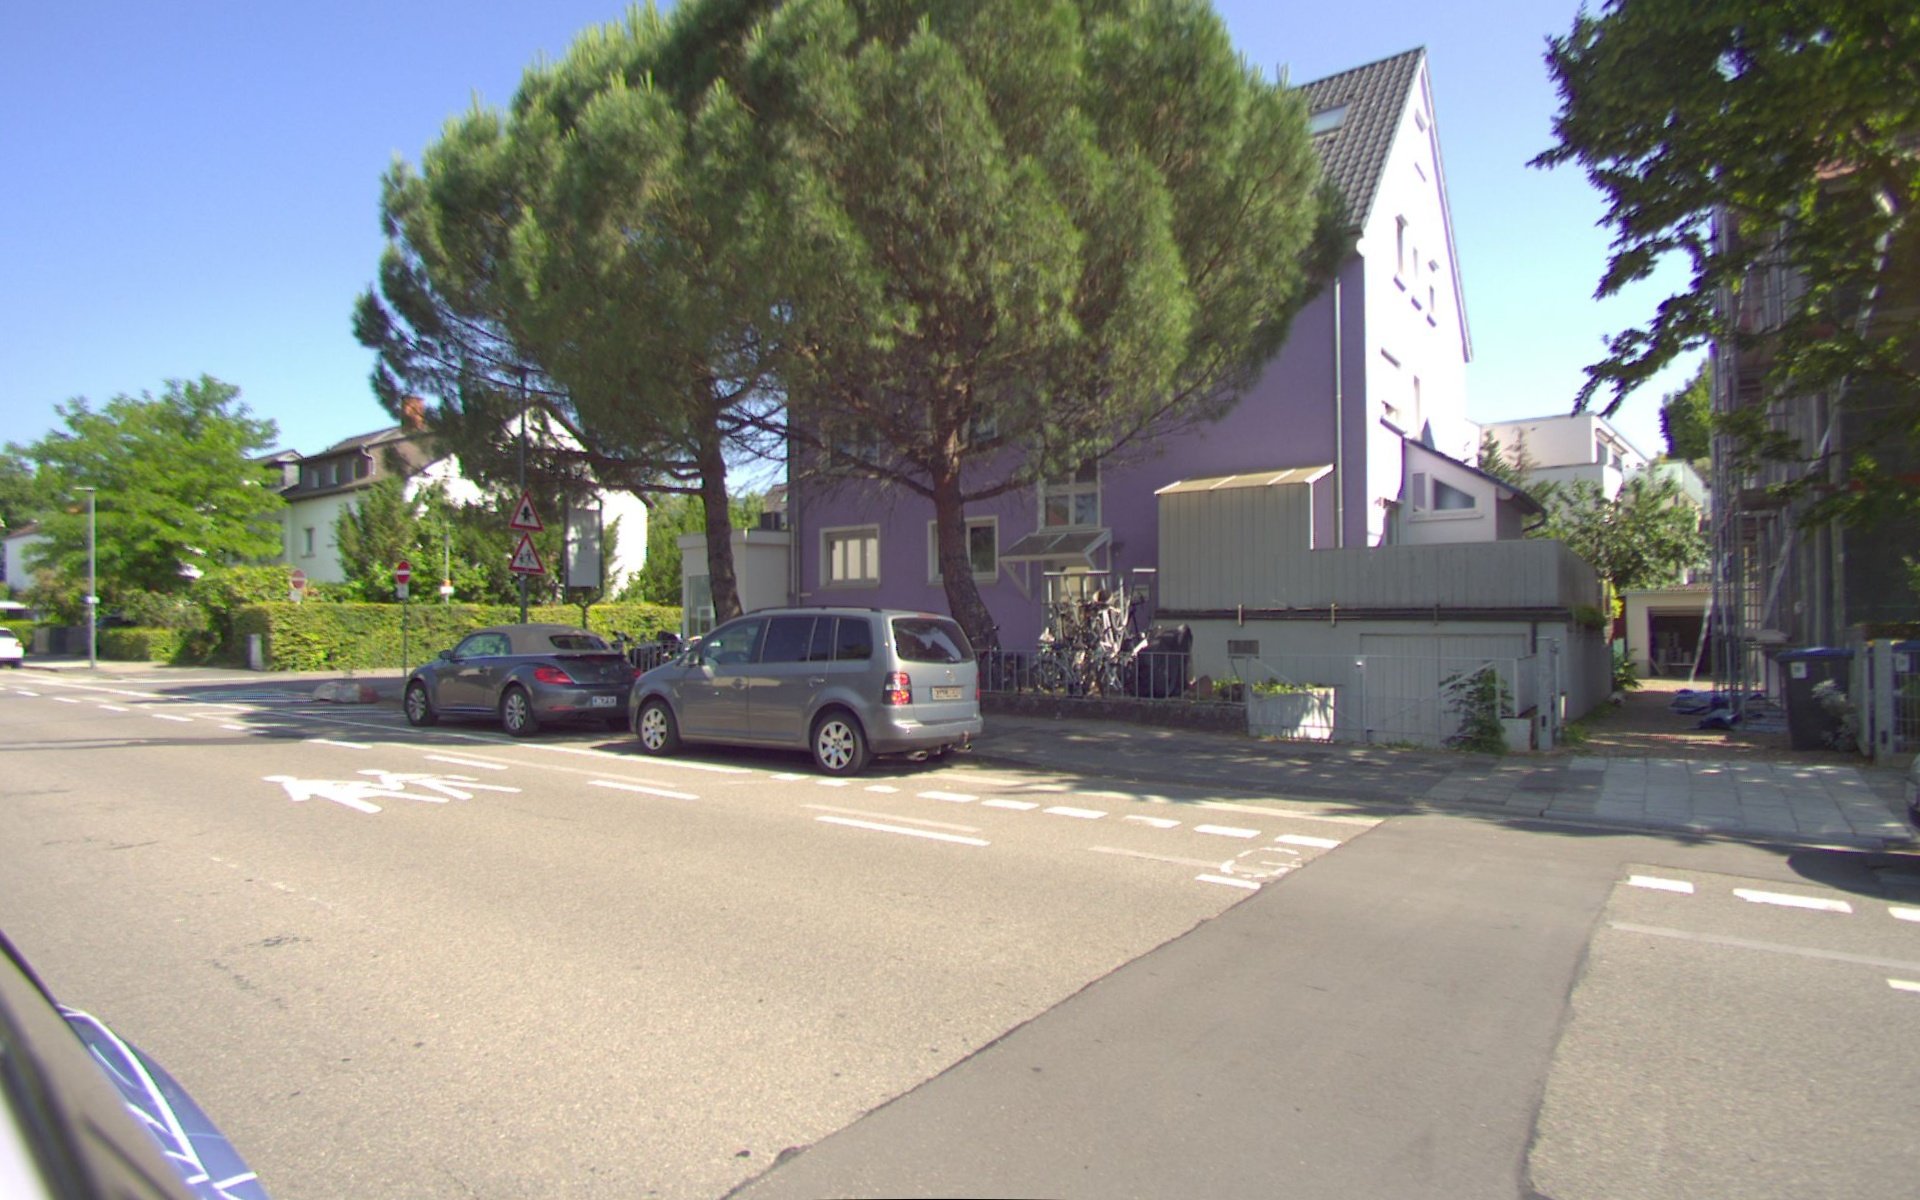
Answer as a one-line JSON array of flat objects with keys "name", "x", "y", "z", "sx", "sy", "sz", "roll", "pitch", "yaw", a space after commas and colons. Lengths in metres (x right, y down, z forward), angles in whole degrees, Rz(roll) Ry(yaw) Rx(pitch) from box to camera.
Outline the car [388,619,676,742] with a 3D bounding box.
[{"name": "car", "x": -6.035, "y": 1.052, "z": 14.104, "sx": 4.185, "sy": 1.468, "sz": 1.824, "roll": -2, "pitch": -3, "yaw": 36}]

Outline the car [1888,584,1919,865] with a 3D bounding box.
[{"name": "car", "x": 7.005, "y": 0.657, "z": 4.537, "sx": 3.994, "sy": 1.571, "sz": 1.704, "roll": -2, "pitch": -3, "yaw": 38}]

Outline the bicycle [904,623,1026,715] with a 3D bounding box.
[{"name": "bicycle", "x": 0.048, "y": 0.976, "z": 14.820, "sx": 1.911, "sy": 1.276, "sz": 0.453, "roll": -1, "pitch": -2, "yaw": 39}]

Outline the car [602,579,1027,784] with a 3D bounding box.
[{"name": "car", "x": -1.692, "y": 0.793, "z": 10.886, "sx": 4.577, "sy": 1.778, "sz": 1.824, "roll": -2, "pitch": -3, "yaw": 36}]

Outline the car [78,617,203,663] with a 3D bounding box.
[{"name": "car", "x": -34.327, "y": 1.665, "z": 42.435, "sx": 3.939, "sy": 1.830, "sz": 2.002, "roll": 2, "pitch": -3, "yaw": -43}]

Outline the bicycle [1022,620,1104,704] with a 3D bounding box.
[{"name": "bicycle", "x": 1.851, "y": 1.071, "z": 17.921, "sx": 0.501, "sy": 1.394, "sz": 2.153, "roll": -2, "pitch": -3, "yaw": 33}]

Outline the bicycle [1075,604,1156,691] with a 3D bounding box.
[{"name": "bicycle", "x": 2.685, "y": 0.795, "z": 17.255, "sx": 0.502, "sy": 1.394, "sz": 2.153, "roll": -2, "pitch": -3, "yaw": 33}]

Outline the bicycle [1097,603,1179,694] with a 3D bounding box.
[{"name": "bicycle", "x": 2.953, "y": 0.785, "z": 16.644, "sx": 0.502, "sy": 1.394, "sz": 2.153, "roll": -2, "pitch": -3, "yaw": 33}]

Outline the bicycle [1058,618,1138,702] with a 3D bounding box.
[{"name": "bicycle", "x": 2.466, "y": 1.031, "z": 17.887, "sx": 0.502, "sy": 1.394, "sz": 2.153, "roll": -2, "pitch": -3, "yaw": 33}]

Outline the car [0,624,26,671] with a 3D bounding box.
[{"name": "car", "x": -33.887, "y": 1.616, "z": 34.806, "sx": 3.993, "sy": 1.564, "sz": 1.935, "roll": -2, "pitch": -2, "yaw": 37}]

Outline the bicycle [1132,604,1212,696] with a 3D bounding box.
[{"name": "bicycle", "x": 3.440, "y": 0.790, "z": 16.289, "sx": 0.502, "sy": 1.394, "sz": 2.153, "roll": -2, "pitch": -3, "yaw": 33}]

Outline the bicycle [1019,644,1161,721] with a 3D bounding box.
[{"name": "bicycle", "x": 1.721, "y": 1.078, "z": 13.579, "sx": 1.910, "sy": 0.961, "sz": 0.453, "roll": -2, "pitch": -2, "yaw": 37}]

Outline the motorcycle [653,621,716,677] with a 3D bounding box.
[{"name": "motorcycle", "x": -6.535, "y": 1.156, "z": 23.980, "sx": 1.496, "sy": 1.283, "sz": 0.510, "roll": -2, "pitch": -3, "yaw": 29}]

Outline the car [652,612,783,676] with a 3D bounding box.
[{"name": "car", "x": -8.151, "y": 1.480, "z": 34.265, "sx": 1.997, "sy": 2.029, "sz": 3.948, "roll": -2, "pitch": -3, "yaw": 38}]
